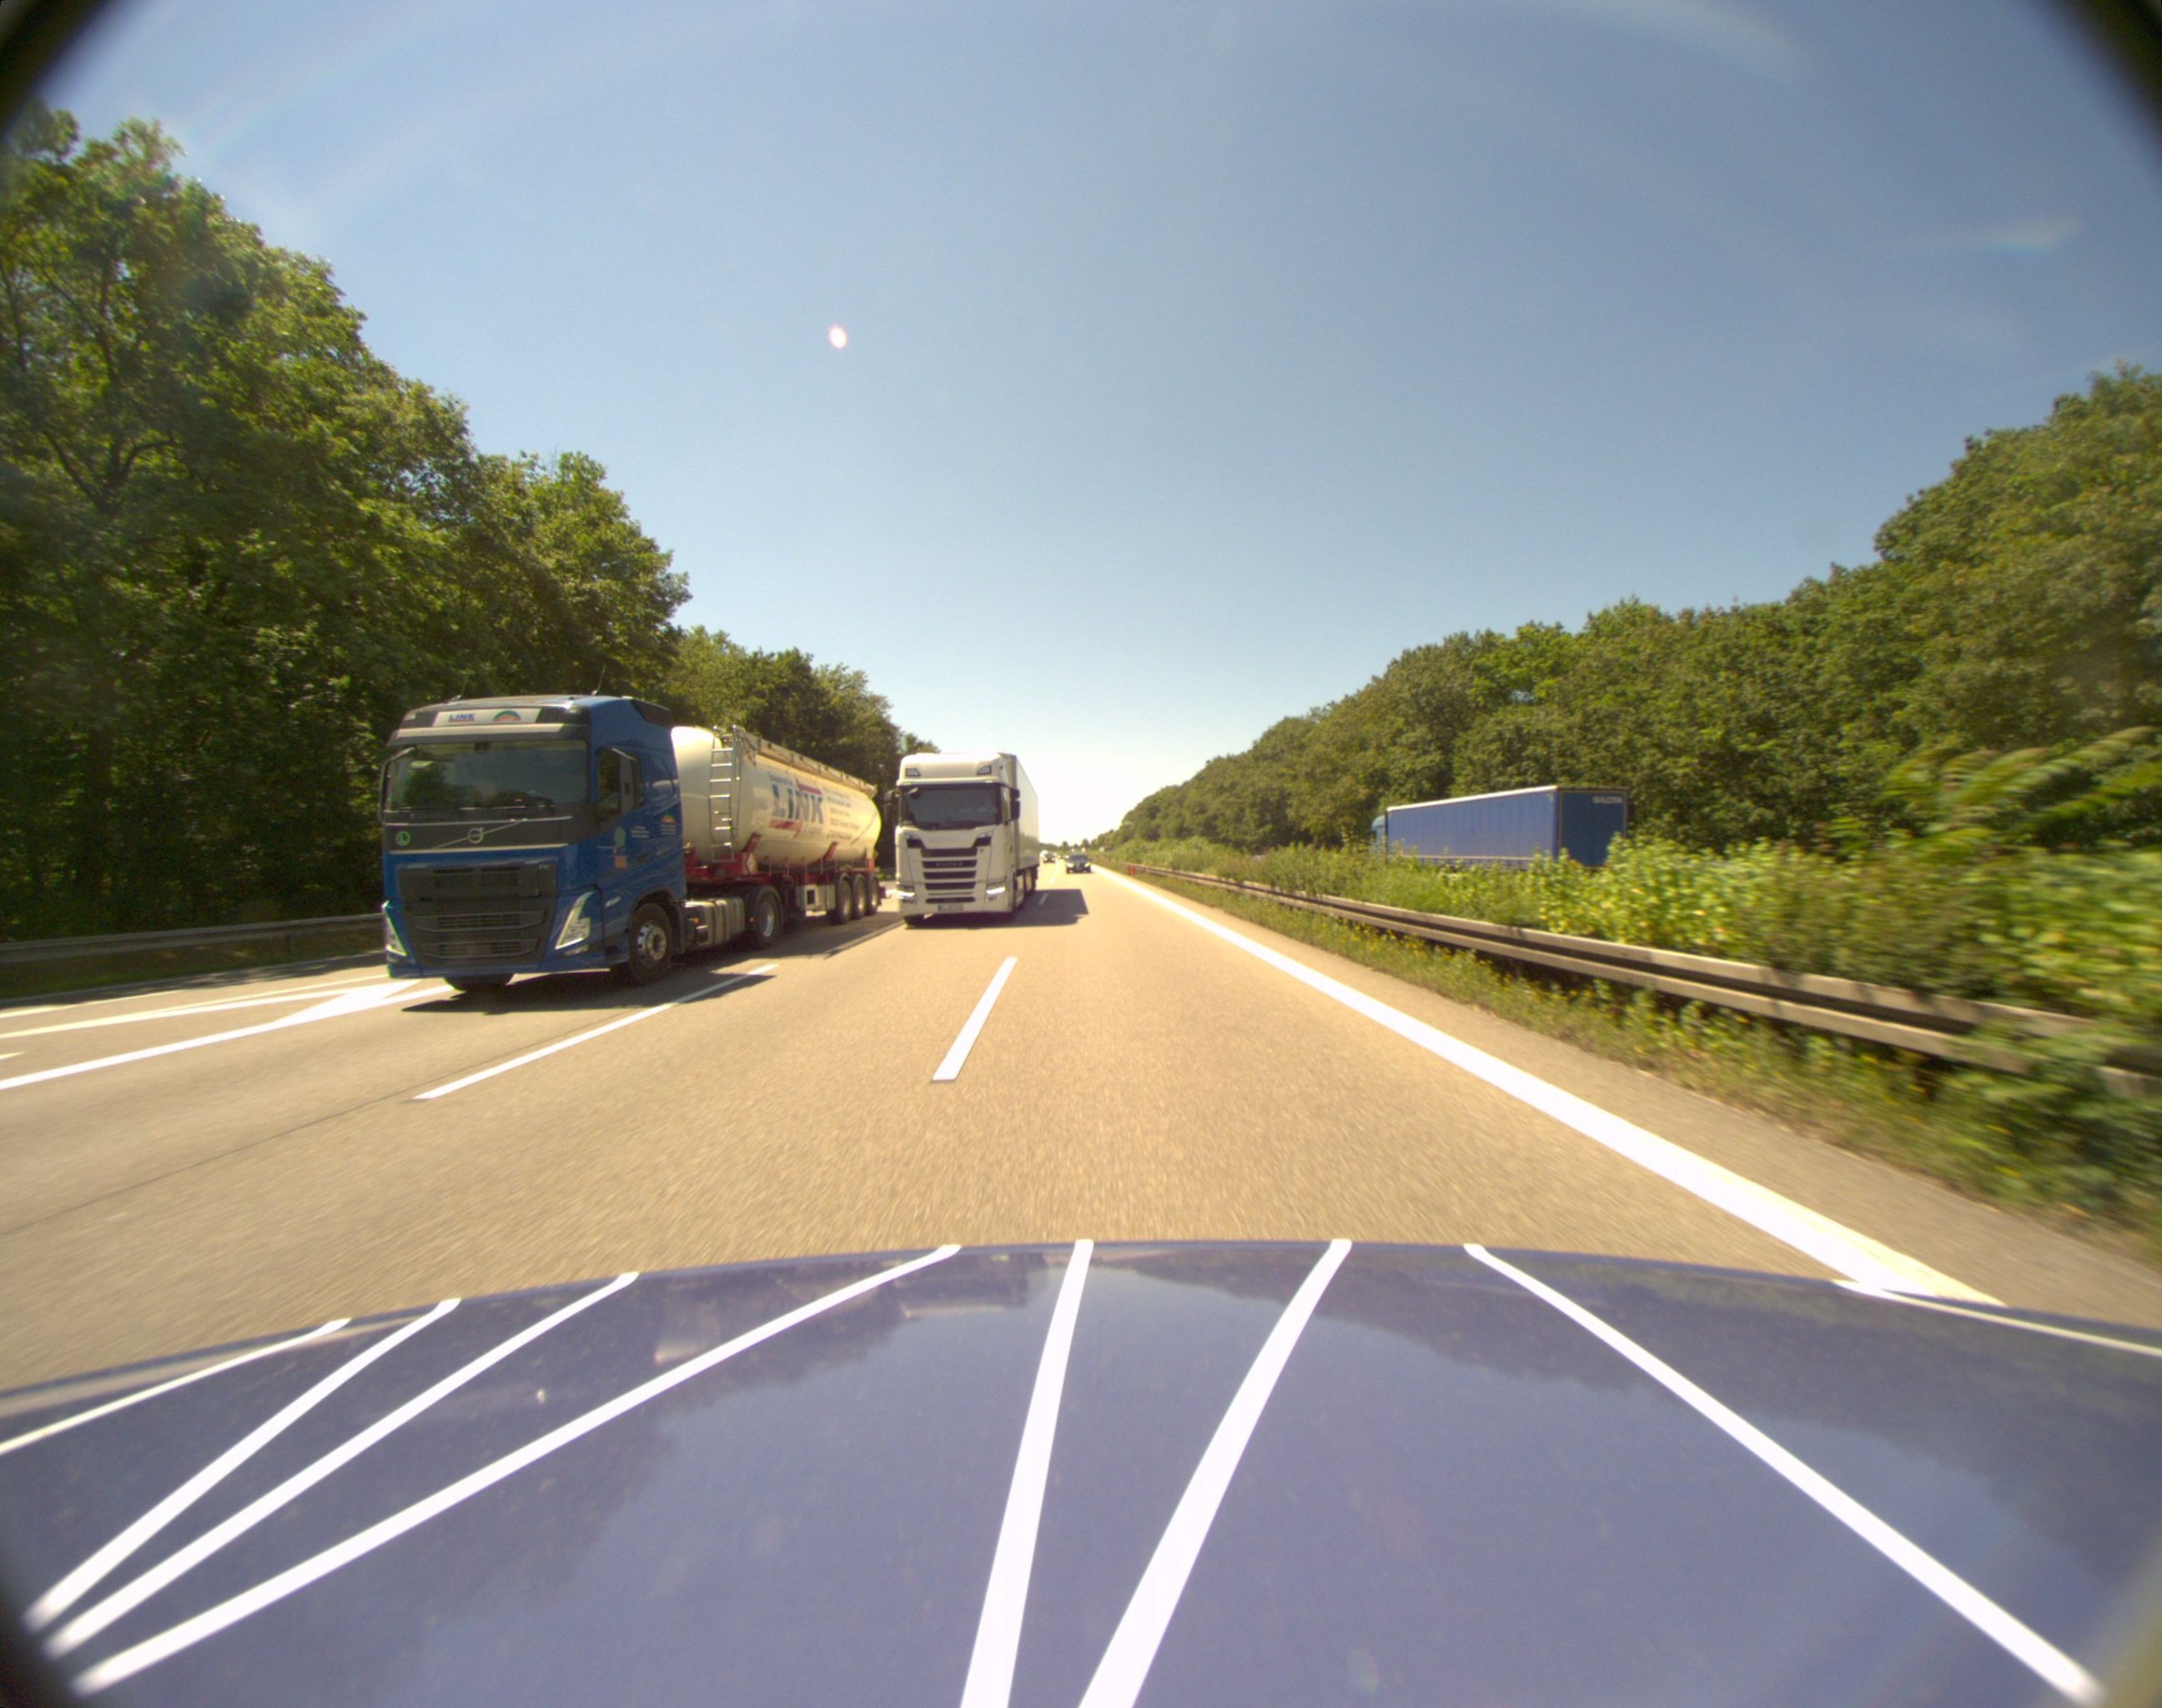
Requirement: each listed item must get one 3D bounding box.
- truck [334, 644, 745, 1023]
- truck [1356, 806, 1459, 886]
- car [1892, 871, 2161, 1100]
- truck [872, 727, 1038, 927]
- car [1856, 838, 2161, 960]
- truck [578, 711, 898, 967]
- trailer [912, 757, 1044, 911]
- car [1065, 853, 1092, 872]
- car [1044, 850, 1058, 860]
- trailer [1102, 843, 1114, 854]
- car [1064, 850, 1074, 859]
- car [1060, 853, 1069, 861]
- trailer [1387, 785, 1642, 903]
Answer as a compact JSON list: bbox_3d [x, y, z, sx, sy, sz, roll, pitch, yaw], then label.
[{"bbox_3d":[-6.729,-0.226,10.232,2.455,4.014,4.071,-2,1,0],"label":"truck"},{"bbox_3d":[17.285,-0.436,40.655,2.824,3.948,5.871,-1,1,-2],"label":"truck"},{"bbox_3d":[9.345,1.059,5.906,1.780,1.710,3.999,-1,1,-1],"label":"car"},{"bbox_3d":[-2.801,-0.580,18.468,3.237,4.133,4.558,-2,0,-2],"label":"truck"},{"bbox_3d":[14.172,0.532,11.004,1.737,1.477,3.999,-2,1,-2],"label":"car"},{"bbox_3d":[-6.749,-0.277,17.438,2.449,4.020,10.540,-2,1,0],"label":"truck"},{"bbox_3d":[-3.086,-0.560,26.740,3.232,4.119,12.348,-1,0,-2],"label":"trailer"},{"bbox_3d":[-0.226,0.590,57.428,1.887,1.341,4.466,-1,0,-2],"label":"car"},{"bbox_3d":[-4.578,0.124,116.172,1.842,1.409,4.495,-1,0,-6],"label":"car"},{"bbox_3d":[9.282,-1.899,261.446,2.918,3.855,13.638,-1,0,-3],"label":"trailer"},{"bbox_3d":[-2.175,0.123,136.526,1.887,1.634,3.999,-1,0,-1],"label":"car"},{"bbox_3d":[-3.986,0.667,187.097,1.999,2.002,3.998,-1,0,-4],"label":"car"},{"bbox_3d":[17.460,-0.386,32.612,2.850,3.948,13.804,-1,0,-1],"label":"trailer"}]
